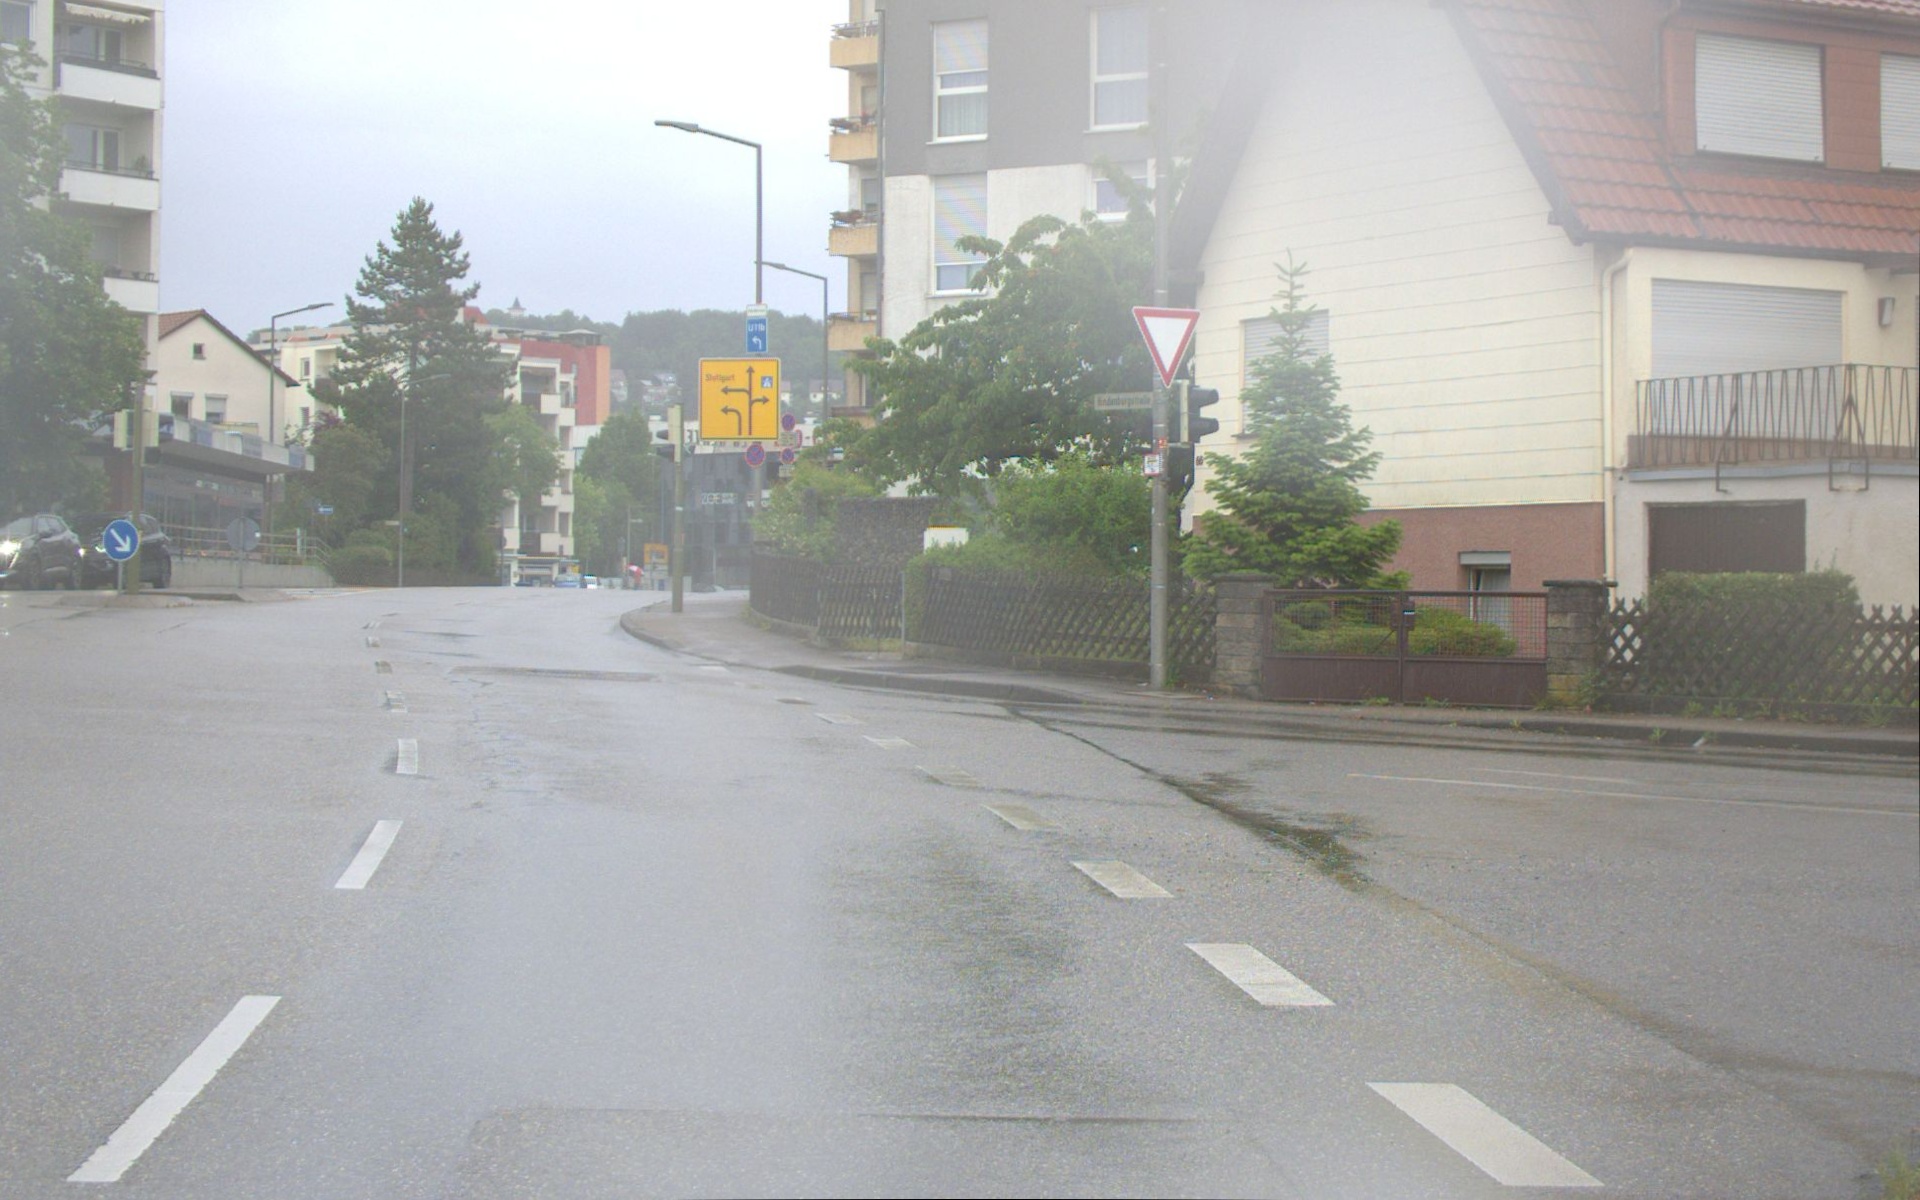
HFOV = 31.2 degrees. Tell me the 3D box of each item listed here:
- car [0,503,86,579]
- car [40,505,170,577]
[{"bbox_3d":[-18.050,-1.146,65.654,1.715,1.382,4.021,1,1,-1],"label":"car"},{"bbox_3d":[-17.729,-1.239,71.413,1.778,1.415,3.831,1,1,-1],"label":"car"}]
